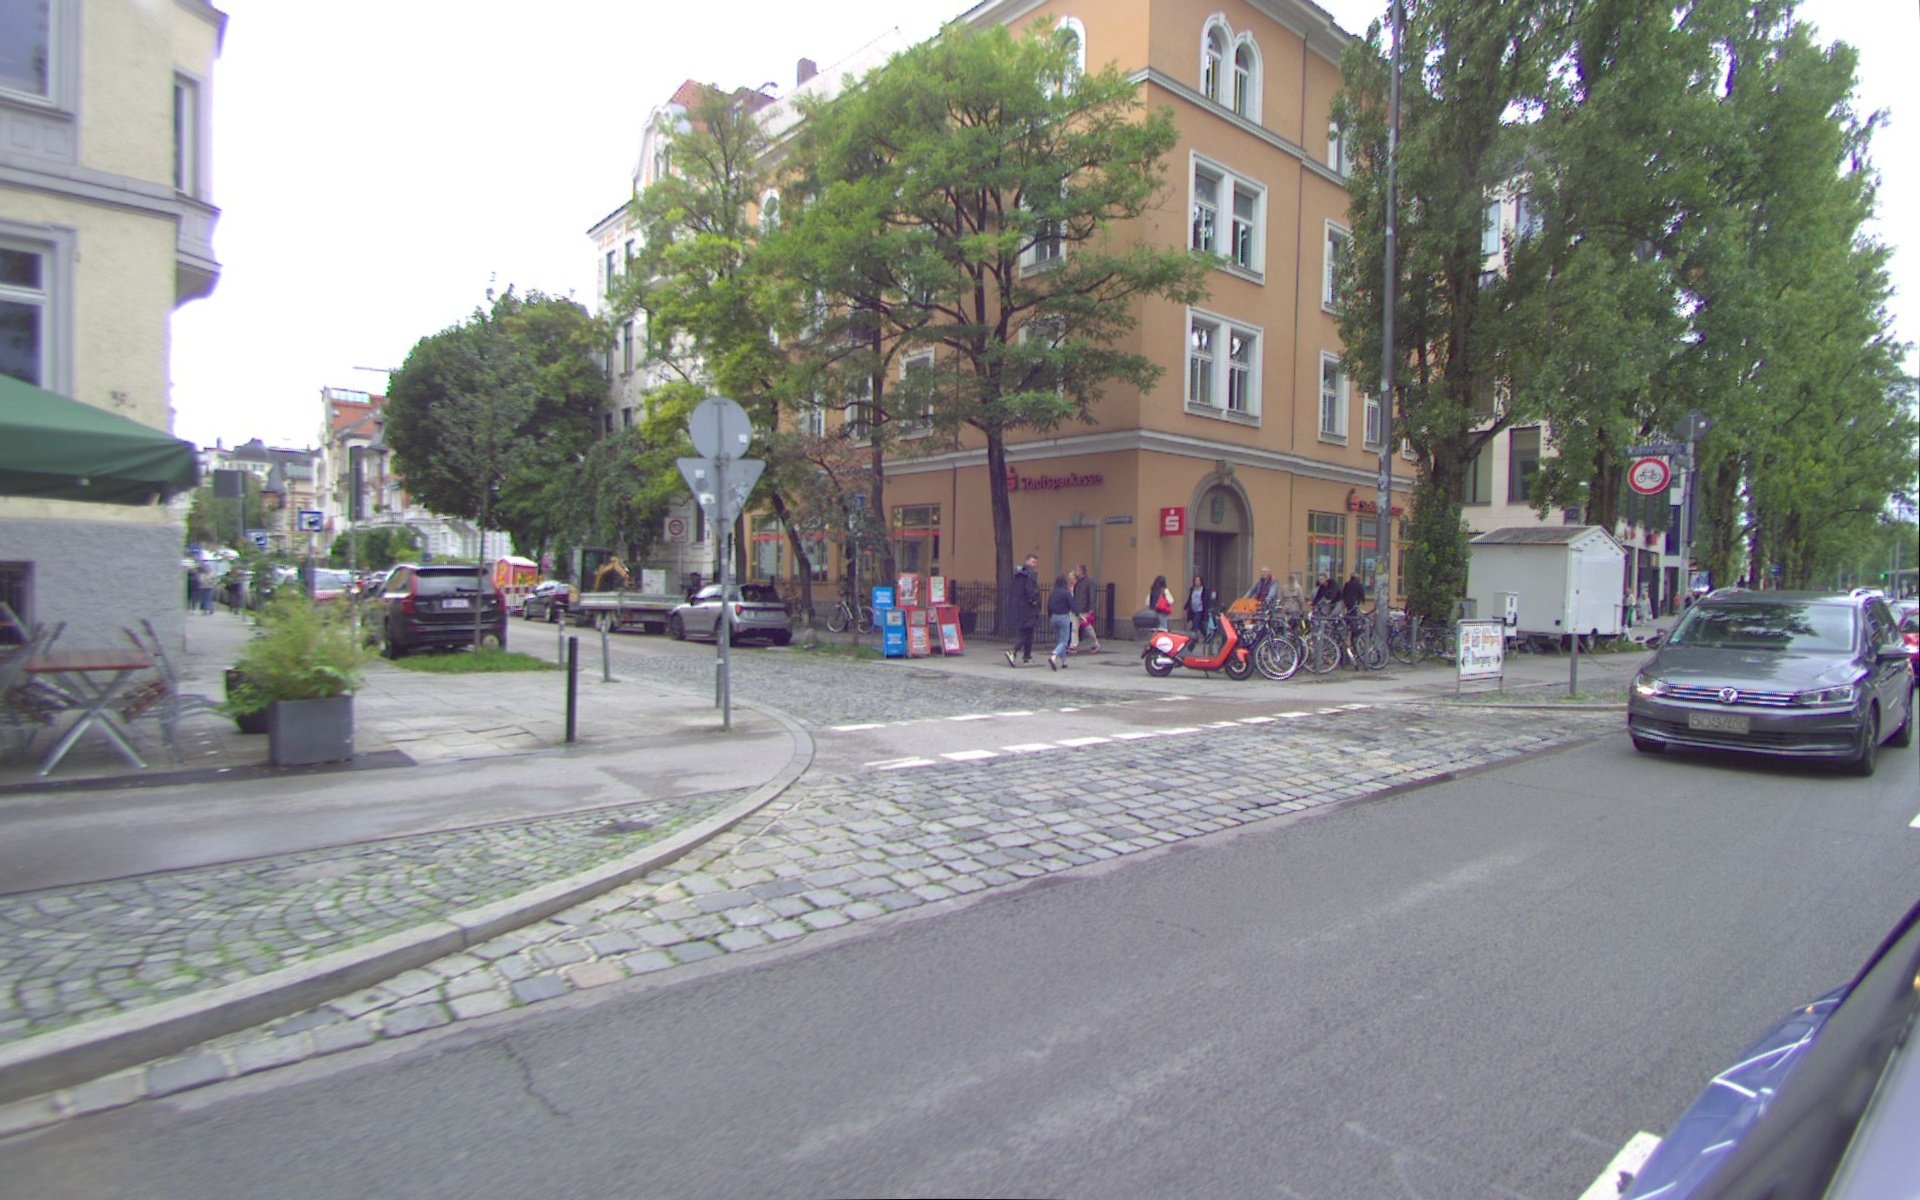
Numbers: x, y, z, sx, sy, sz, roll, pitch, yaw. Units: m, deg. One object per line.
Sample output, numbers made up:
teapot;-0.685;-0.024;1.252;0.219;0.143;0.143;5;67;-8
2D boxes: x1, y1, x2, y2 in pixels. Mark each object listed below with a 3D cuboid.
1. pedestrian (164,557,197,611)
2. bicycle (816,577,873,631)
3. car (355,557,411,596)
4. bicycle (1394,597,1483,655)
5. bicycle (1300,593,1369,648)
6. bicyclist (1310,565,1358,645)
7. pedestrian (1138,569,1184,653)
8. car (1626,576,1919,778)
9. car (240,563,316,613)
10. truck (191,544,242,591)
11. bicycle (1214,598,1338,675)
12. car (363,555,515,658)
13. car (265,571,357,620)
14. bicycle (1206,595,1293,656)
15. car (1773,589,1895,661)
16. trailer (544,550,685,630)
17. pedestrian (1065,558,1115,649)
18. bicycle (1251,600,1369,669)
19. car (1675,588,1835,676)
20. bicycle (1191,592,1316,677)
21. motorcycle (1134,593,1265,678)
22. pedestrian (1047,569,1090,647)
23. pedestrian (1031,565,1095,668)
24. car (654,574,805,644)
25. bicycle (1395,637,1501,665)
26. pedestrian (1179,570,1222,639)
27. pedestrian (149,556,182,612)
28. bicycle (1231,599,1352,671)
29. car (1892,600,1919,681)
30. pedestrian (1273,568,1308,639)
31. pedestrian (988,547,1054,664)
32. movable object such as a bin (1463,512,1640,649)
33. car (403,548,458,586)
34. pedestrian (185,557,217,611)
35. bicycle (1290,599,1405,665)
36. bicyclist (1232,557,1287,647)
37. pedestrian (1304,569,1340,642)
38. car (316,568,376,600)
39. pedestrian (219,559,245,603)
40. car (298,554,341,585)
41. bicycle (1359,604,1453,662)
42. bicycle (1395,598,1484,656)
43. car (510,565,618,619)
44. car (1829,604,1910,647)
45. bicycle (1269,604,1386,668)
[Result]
pedestrian;-26.490;-0.537;34.380;0.871;1.815;0.753;2;1;44
bicycle;-3.113;0.096;27.160;0.551;1.389;1.945;1;0;-39
car;-31.804;-1.248;55.747;1.965;2.039;3.993;0;0;-41
bicycle;9.712;0.510;20.566;1.593;1.098;0.319;2;1;28
bicycle;8.242;0.426;22.207;0.734;1.134;2.071;2;1;41
bicyclist;8.178;0.107;22.131;0.738;1.708;0.737;2;1;42
pedestrian;3.933;0.209;19.818;0.739;1.591;0.608;0;0;28
car;8.414;0.606;10.178;4.120;1.611;1.880;0;0;-42
car;-24.596;-0.438;36.449;1.673;1.707;3.991;0;1;-43
truck;-41.317;-1.785;56.209;1.846;2.501;3.991;0;1;-43
bicycle;5.183;0.562;16.709;0.551;1.151;1.945;1;1;-39
car;-10.011;0.098;19.271;1.934;1.724;4.428;0;0;-36
car;-19.833;-0.164;30.877;1.673;1.417;3.991;0;1;-43
bicycle;5.791;0.477;20.161;0.884;1.134;2.071;2;1;41
car;21.973;0.566;25.384;4.421;1.634;1.787;0;0;-42
trailer;-9.791;-0.283;28.399;1.873;2.054;5.247;1;0;-42
pedestrian;2.646;0.066;20.585;0.719;1.788;0.699;0;0;-38
bicycle;6.100;0.575;17.743;0.551;1.089;1.945;1;1;-39
car;15.943;0.572;20.216;4.421;1.572;1.787;0;0;-42
bicycle;4.689;0.523;16.315;0.551;1.255;1.945;1;1;-39
motorcycle;3.759;0.537;15.945;1.939;1.236;0.510;2;1;24
pedestrian;2.283;0.163;21.308;0.564;1.591;0.699;0;0;-38
pedestrian;1.735;0.273;17.051;0.758;1.682;0.745;0;0;-41
car;-5.617;0.191;24.373;1.873;1.539;3.992;0;0;-42
bicycle;9.327;0.964;19.379;1.671;0.378;0.818;4;3;42
pedestrian;5.624;0.099;23.678;0.651;1.591;0.746;0;0;-38
pedestrian;-26.459;-0.535;33.700;0.871;1.815;0.753;2;1;44
bicycle;5.597;0.560;17.208;0.551;1.102;1.945;1;1;-39
car;18.976;0.734;19.144;3.934;1.451;1.614;0;0;-42
pedestrian;8.069;0.081;24.715;0.565;1.715;0.633;0;0;-43
pedestrian;1.054;0.084;17.635;0.787;1.973;0.840;0;0;-36
movable object such as a bin;15.086;-0.502;25.746;4.463;3.175;2.445;0;2;-41
car;-30.063;-1.806;57.419;1.965;2.039;3.993;0;0;-41
pedestrian;-25.771;-0.540;34.361;0.871;1.815;0.753;2;1;44
bicycle;7.103;0.568;18.616;0.551;1.098;1.945;1;1;-39
bicyclist;6.049;0.027;20.438;0.827;1.779;0.657;2;1;41
pedestrian;8.620;0.121;24.092;0.565;1.715;0.618;0;0;-45
car;-29.146;-0.762;48.013;1.673;1.487;3.991;0;1;-43
pedestrian;-24.373;-0.631;33.880;0.590;1.427;0.798;0;0;-44
car;-44.447;-2.062;70.229;1.965;2.039;3.993;0;0;-41
bicycle;8.436;0.608;19.207;1.597;1.022;0.337;2;1;43
bicycle;9.573;0.528;20.230;1.587;1.098;0.339;2;1;28
car;-13.219;-0.261;33.642;1.967;1.705;3.989;0;0;-44
car;31.693;0.844;35.231;3.934;1.378;1.698;0;0;-42
bicycle;6.549;0.613;18.131;0.551;1.022;1.945;1;1;-39
